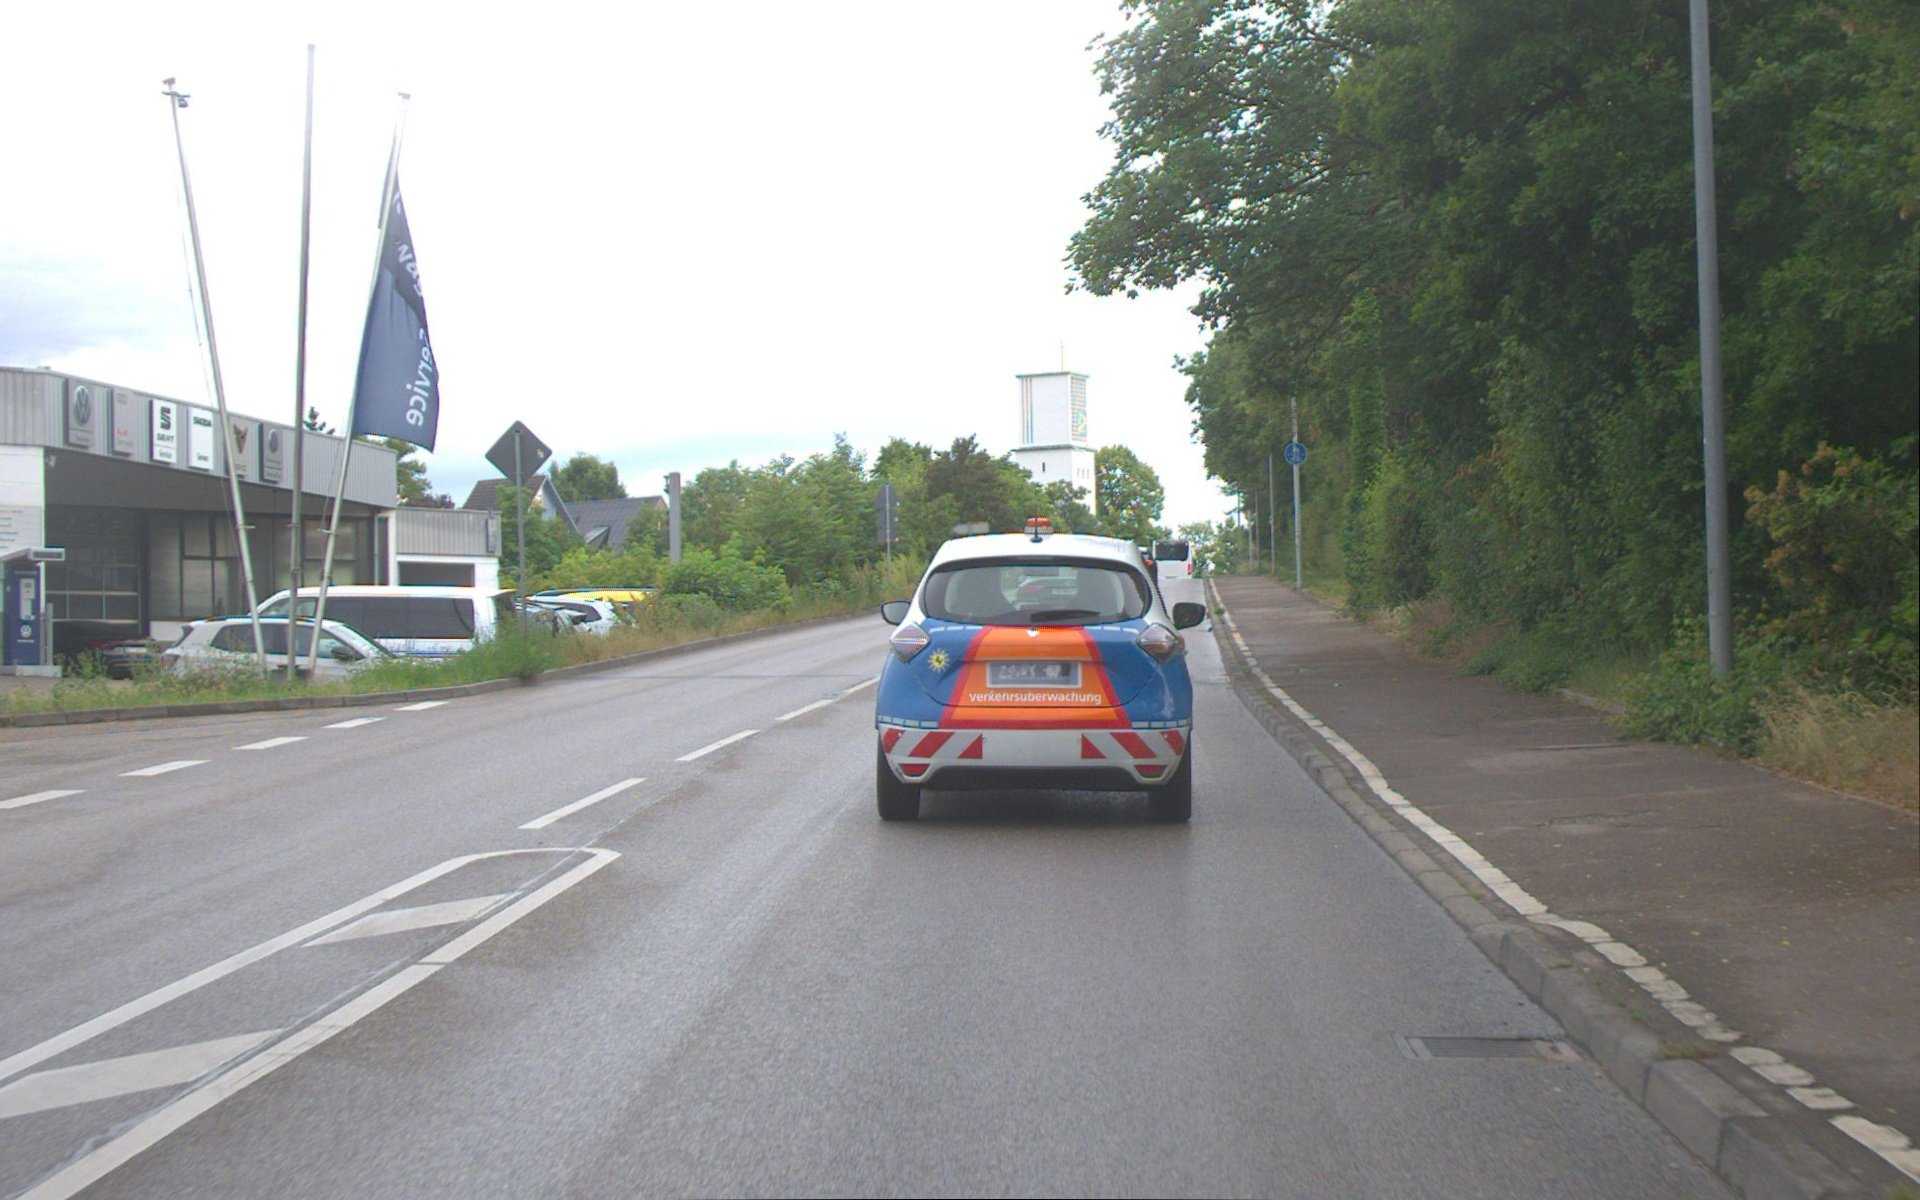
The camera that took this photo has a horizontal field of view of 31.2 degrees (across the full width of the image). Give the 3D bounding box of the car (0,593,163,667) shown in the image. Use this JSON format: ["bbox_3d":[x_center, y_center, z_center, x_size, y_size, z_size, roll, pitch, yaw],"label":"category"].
[{"bbox_3d":[-18.454,0.614,70.529,4.017,1.411,1.949,-1,1,38],"label":"car"}]

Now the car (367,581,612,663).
[{"bbox_3d":[-8.642,0.395,63.388,4.226,1.364,1.875,-2,1,0],"label":"car"}]

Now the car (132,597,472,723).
[{"bbox_3d":[-8.536,0.772,44.799,4.009,1.473,1.824,-2,1,2],"label":"car"}]

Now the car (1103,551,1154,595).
[{"bbox_3d":[5.716,-0.907,116.952,1.614,1.402,3.497,-2,0,1],"label":"car"}]

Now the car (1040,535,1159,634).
[{"bbox_3d":[2.352,-0.263,58.847,1.802,1.584,3.563,-2,0,-1],"label":"car"}]

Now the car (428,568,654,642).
[{"bbox_3d":[-8.009,0.088,65.964,4.062,1.286,1.804,-2,1,0],"label":"car"}]

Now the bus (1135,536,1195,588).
[{"bbox_3d":[13.373,-2.429,225.274,2.910,3.159,11.467,-2,0,-1],"label":"bus"}]

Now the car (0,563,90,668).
[{"bbox_3d":[-19.648,0.384,68.749,4.480,1.954,1.984,-4,-1,39],"label":"car"}]

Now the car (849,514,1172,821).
[{"bbox_3d":[0.370,0.363,19.648,1.657,1.587,3.568,0,0,4],"label":"car"}]

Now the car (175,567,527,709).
[{"bbox_3d":[-8.352,0.511,47.396,4.412,1.791,1.934,-2,1,2],"label":"car"}]
